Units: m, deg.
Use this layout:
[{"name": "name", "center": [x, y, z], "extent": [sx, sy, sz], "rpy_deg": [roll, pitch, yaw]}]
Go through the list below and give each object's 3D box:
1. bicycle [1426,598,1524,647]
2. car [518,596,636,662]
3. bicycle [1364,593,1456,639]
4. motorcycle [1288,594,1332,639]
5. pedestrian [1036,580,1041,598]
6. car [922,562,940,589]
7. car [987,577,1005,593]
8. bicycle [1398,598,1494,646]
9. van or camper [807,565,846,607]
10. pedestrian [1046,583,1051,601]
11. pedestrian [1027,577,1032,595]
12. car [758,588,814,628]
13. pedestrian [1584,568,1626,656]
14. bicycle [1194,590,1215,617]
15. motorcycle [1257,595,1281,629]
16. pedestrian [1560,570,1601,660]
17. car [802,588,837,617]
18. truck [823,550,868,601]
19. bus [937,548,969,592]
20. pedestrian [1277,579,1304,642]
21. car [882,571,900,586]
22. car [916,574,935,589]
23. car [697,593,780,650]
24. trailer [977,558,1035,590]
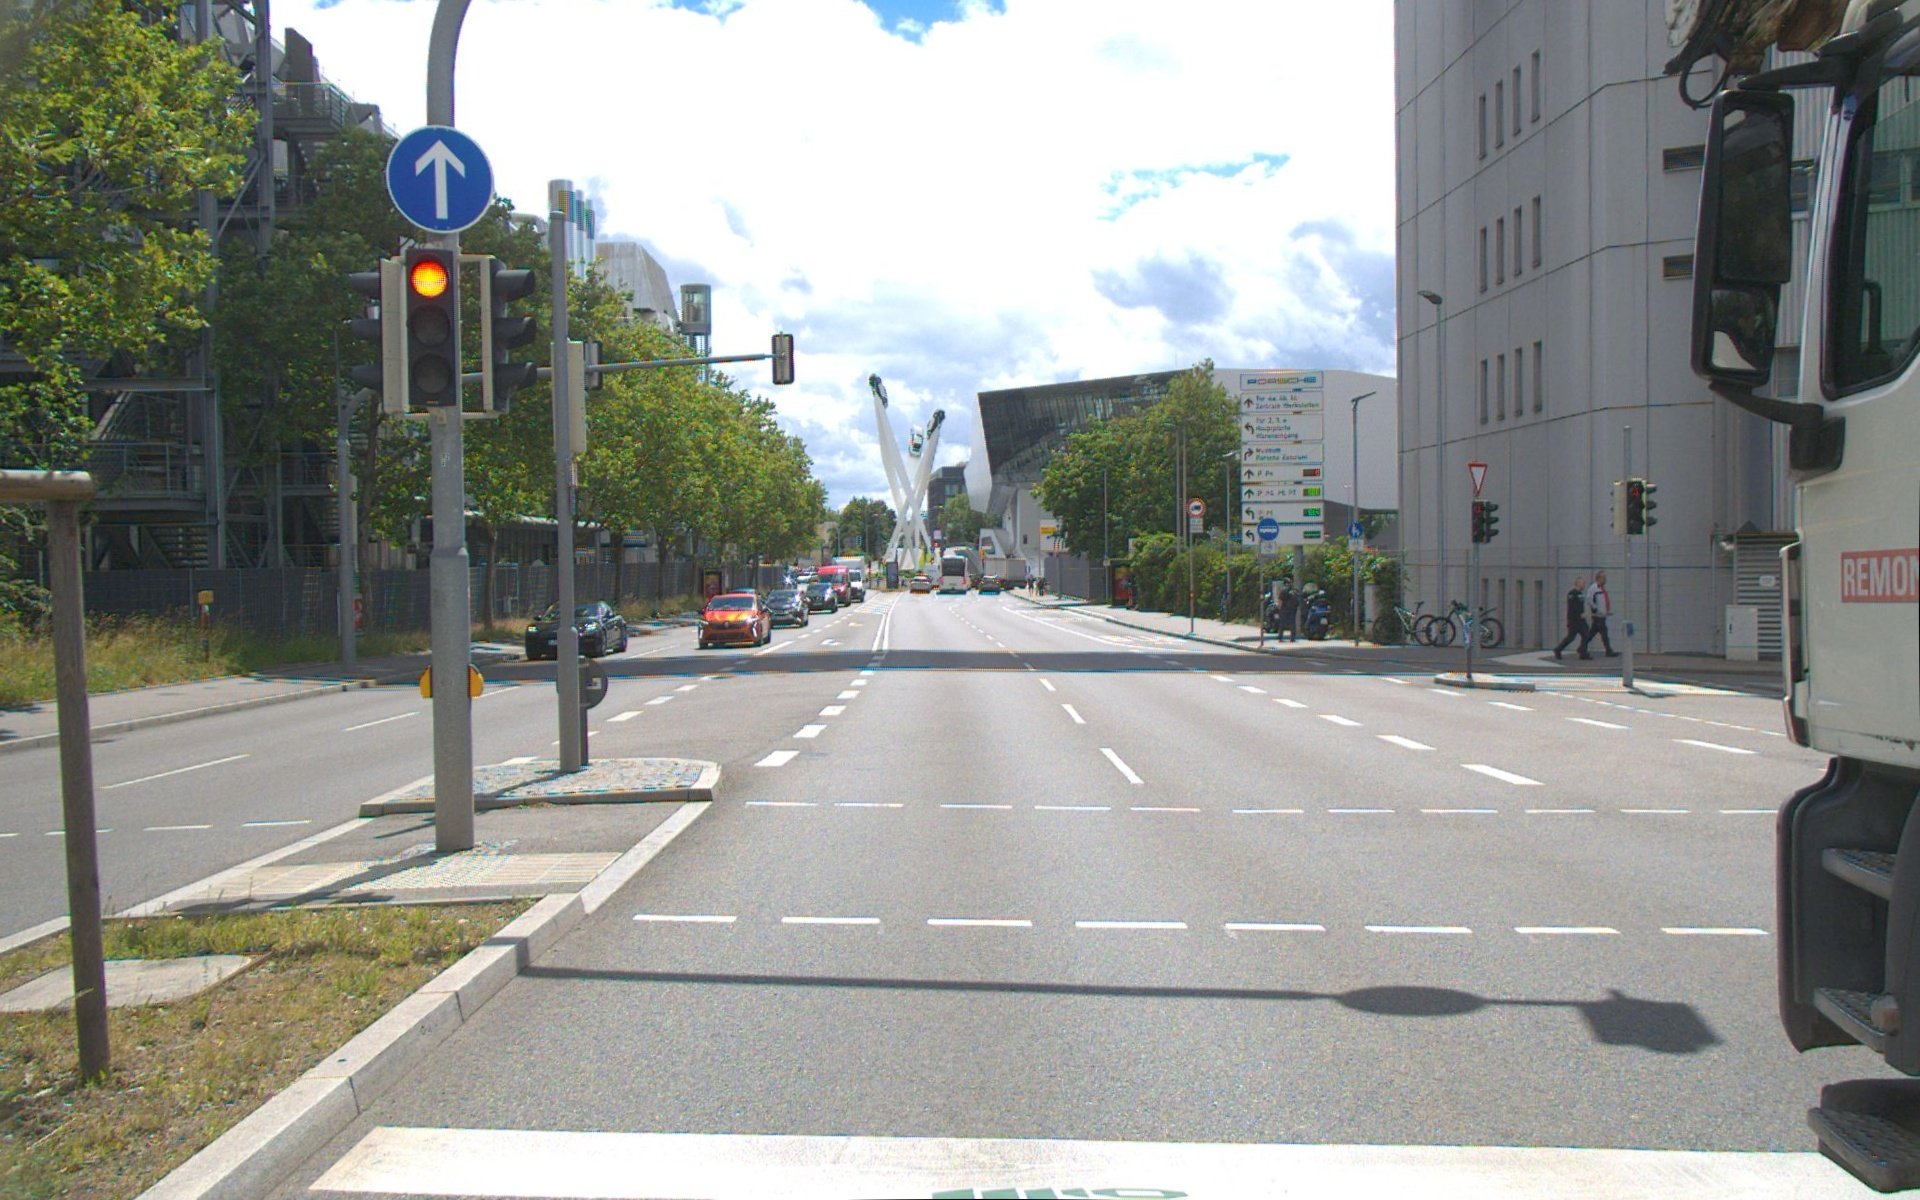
[{"name": "bicycle", "center": [12.074, 0.528, 38.820], "extent": [2.149, 1.105, 0.475], "rpy_deg": [1, -1, 35]}, {"name": "car", "center": [-9.818, 0.702, 42.788], "extent": [1.878, 1.514, 4.772], "rpy_deg": [-2, 0, 0]}, {"name": "bicycle", "center": [11.149, 0.382, 41.036], "extent": [2.180, 1.105, 0.475], "rpy_deg": [1, -1, 35]}, {"name": "motorcycle", "center": [9.545, 0.447, 45.166], "extent": [0.410, 1.186, 1.951], "rpy_deg": [1, 0, -11]}, {"name": "pedestrian", "center": [6.352, -0.889, 133.478], "extent": [0.378, 1.446, 0.423], "rpy_deg": [1, -1, 0]}, {"name": "car", "center": [-2.987, -2.521, 171.182], "extent": [1.806, 2.669, 3.999], "rpy_deg": [1, 0, -1]}, {"name": "car", "center": [3.171, -1.312, 146.297], "extent": [1.525, 1.295, 3.701], "rpy_deg": [-2, 0, 1]}, {"name": "bicycle", "center": [11.665, 0.525, 39.757], "extent": [2.180, 1.105, 0.475], "rpy_deg": [1, -1, 35]}, {"name": "van or camper", "center": [-8.309, -0.874, 103.460], "extent": [2.005, 2.509, 5.594], "rpy_deg": [0, 0, 0]}, {"name": "pedestrian", "center": [7.160, -0.656, 133.491], "extent": [0.378, 1.446, 0.423], "rpy_deg": [1, -1, 0]}, {"name": "pedestrian", "center": [5.751, -1.154, 136.580], "extent": [0.378, 1.446, 0.423], "rpy_deg": [1, -1, 0]}, {"name": "car", "center": [-6.816, 0.298, 65.073], "extent": [1.733, 1.445, 3.701], "rpy_deg": [-2, 0, 0]}, {"name": "pedestrian", "center": [13.664, 0.245, 35.058], "extent": [0.695, 1.825, 0.694], "rpy_deg": [-2, 1, 15]}, {"name": "bicycle", "center": [9.667, 0.148, 65.413], "extent": [0.410, 1.040, 1.910], "rpy_deg": [1, 0, -5]}, {"name": "motorcycle", "center": [9.737, 0.365, 52.153], "extent": [0.448, 1.040, 1.913], "rpy_deg": [1, 0, 1]}, {"name": "pedestrian", "center": [12.896, 0.302, 34.405], "extent": [0.695, 1.825, 0.643], "rpy_deg": [-2, 1, 18]}, {"name": "car", "center": [-7.497, 0.121, 88.533], "extent": [1.525, 1.473, 3.772], "rpy_deg": [-2, 0, 0]}, {"name": "truck", "center": [-7.953, -1.676, 115.542], "extent": [2.538, 3.382, 7.078], "rpy_deg": [1, 0, 0]}, {"name": "bus", "center": [-0.623, -2.682, 150.153], "extent": [2.730, 3.750, 6.942], "rpy_deg": [1, 0, 0]}, {"name": "pedestrian", "center": [8.893, 0.280, 44.482], "extent": [0.523, 1.669, 0.657], "rpy_deg": [1, -1, -6]}, {"name": "car", "center": [-6.485, -2.018, 155.748], "extent": [1.525, 1.295, 3.701], "rpy_deg": [-2, 0, 0]}, {"name": "car", "center": [-3.132, -1.650, 148.696], "extent": [1.525, 1.295, 3.701], "rpy_deg": [-2, 0, 1]}, {"name": "car", "center": [-6.118, 0.564, 46.014], "extent": [1.733, 1.445, 3.701], "rpy_deg": [-2, 0, 0]}, {"name": "trailer", "center": [4.851, -2.660, 172.197], "extent": [3.250, 3.047, 10.380], "rpy_deg": [1, 0, 18]}]
